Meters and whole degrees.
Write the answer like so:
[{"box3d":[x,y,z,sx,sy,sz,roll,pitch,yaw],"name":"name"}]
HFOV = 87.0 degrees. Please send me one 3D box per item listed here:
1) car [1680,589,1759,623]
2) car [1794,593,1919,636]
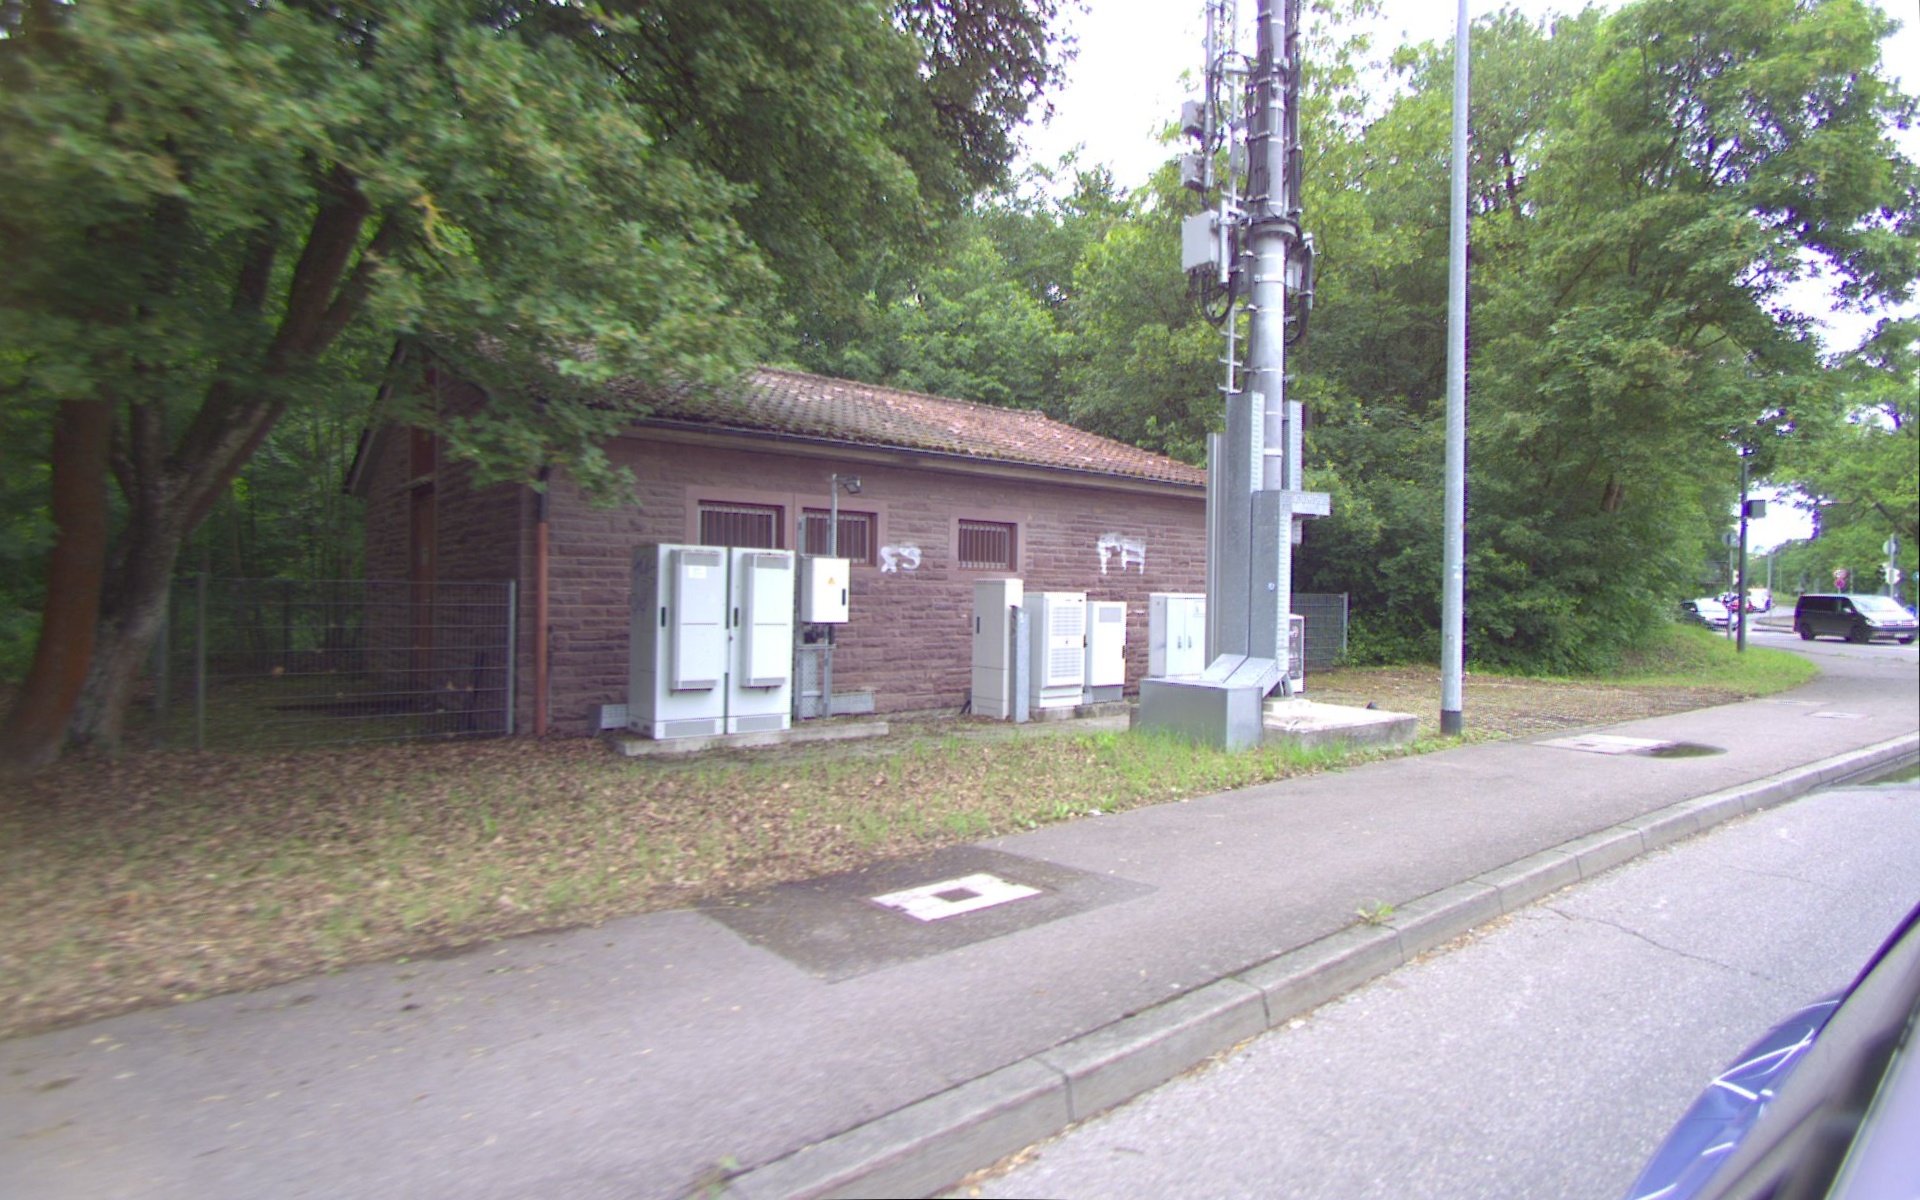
[{"box3d":[38.788,0.264,51.816,1.871,1.661,3.964,0,0,15],"name":"car"},{"box3d":[36.495,0.537,40.787,1.922,1.607,4.905,0,0,4],"name":"car"}]
